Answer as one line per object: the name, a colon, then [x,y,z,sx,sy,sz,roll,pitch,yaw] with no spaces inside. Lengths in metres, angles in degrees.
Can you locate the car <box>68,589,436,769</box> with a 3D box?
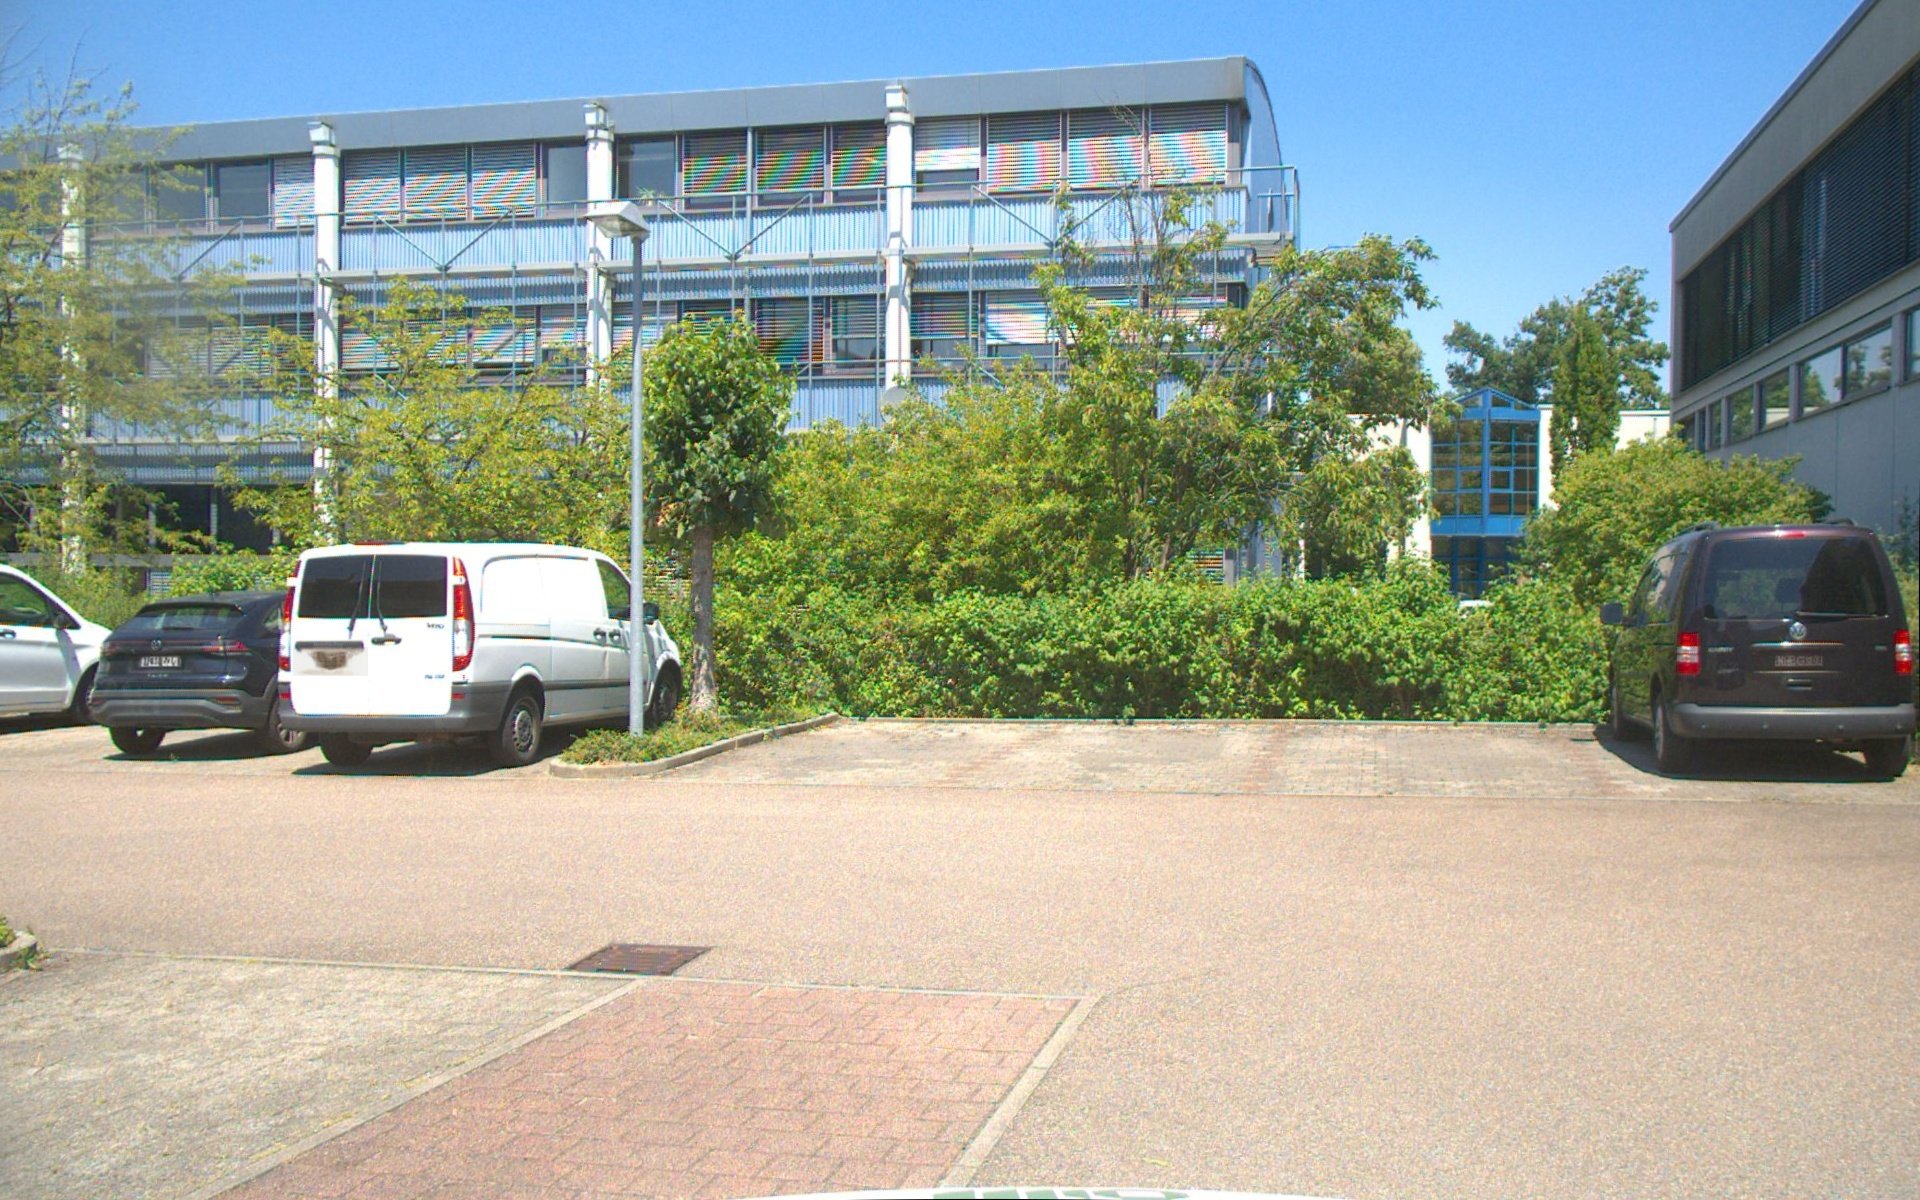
car: [-6.941,0.692,16.713,1.717,1.502,4.003,-1,1,4]

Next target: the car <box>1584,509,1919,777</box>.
car: [6.353,0.281,13.679,1.706,1.869,4.004,-1,1,13]

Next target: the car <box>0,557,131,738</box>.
car: [-11.220,0.526,17.249,1.841,1.924,4.808,-1,1,15]

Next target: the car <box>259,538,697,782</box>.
car: [-4.287,0.437,15.689,1.872,1.938,4.813,-1,1,12]
